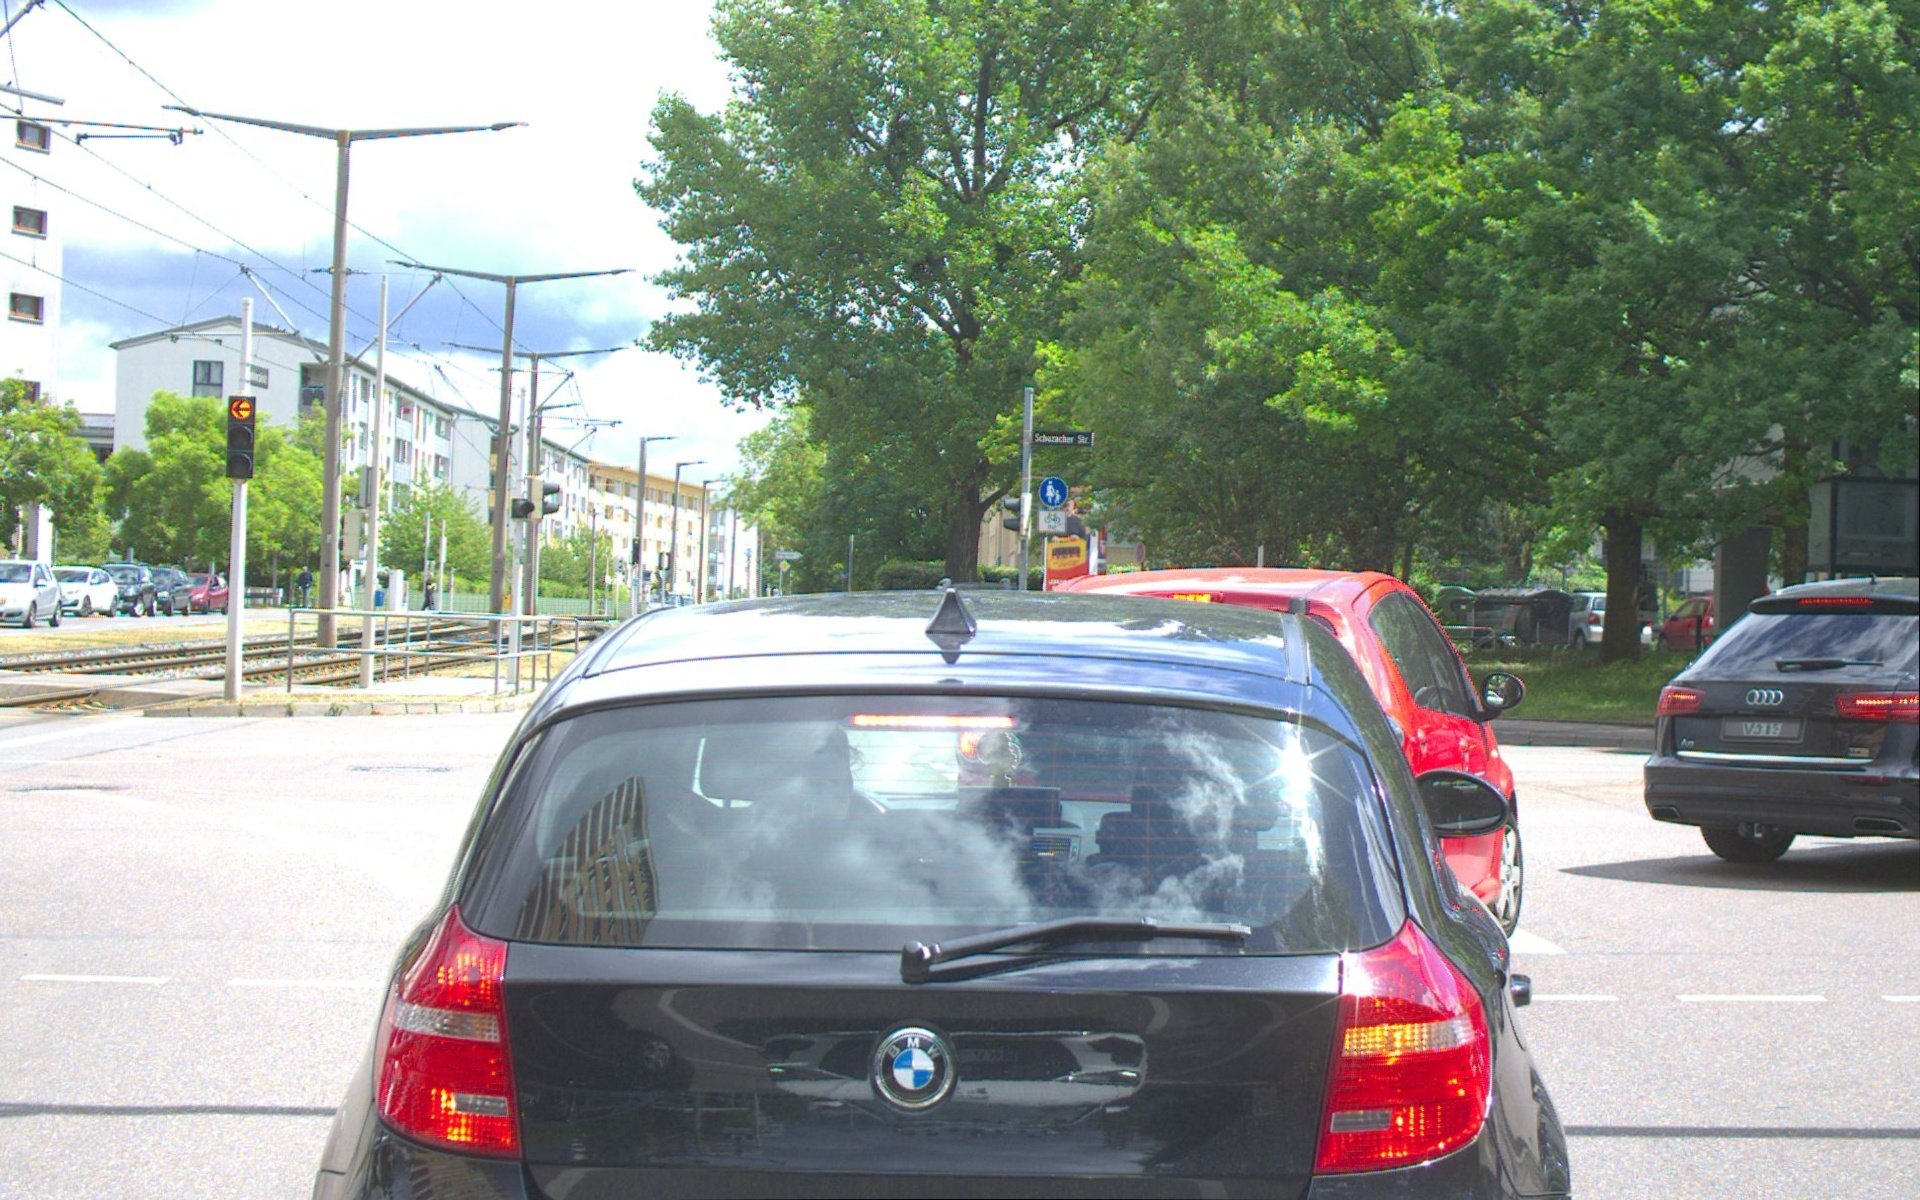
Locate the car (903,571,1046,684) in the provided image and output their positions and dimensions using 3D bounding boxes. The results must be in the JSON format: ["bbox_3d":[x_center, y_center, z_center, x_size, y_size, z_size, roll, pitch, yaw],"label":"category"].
[{"bbox_3d":[0.210,0.422,54.214,2.152,1.678,4.000,1,0,0],"label":"car"}]

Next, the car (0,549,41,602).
[{"bbox_3d":[-26.174,-0.698,93.421,1.761,1.390,4.001,1,1,-7],"label":"car"}]

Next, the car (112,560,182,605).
[{"bbox_3d":[-26.514,-0.574,112.160,1.761,1.390,4.001,1,1,-7],"label":"car"}]

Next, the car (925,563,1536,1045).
[{"bbox_3d":[1.081,0.605,12.248,1.543,1.436,3.193,1,1,16],"label":"car"}]

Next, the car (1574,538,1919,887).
[{"bbox_3d":[5.363,0.495,17.452,4.508,1.548,1.999,0,0,-41],"label":"car"}]

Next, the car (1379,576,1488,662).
[{"bbox_3d":[10.532,0.398,76.675,1.630,1.804,4.033,1,1,-3],"label":"car"}]

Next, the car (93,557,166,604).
[{"bbox_3d":[-25.973,-0.623,107.593,1.761,1.390,4.001,1,1,-7],"label":"car"}]

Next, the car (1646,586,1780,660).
[{"bbox_3d":[17.346,0.503,79.366,1.730,1.589,4.001,1,1,-8],"label":"car"}]

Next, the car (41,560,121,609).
[{"bbox_3d":[-25.795,-0.468,101.017,1.761,1.390,4.001,1,1,-7],"label":"car"}]

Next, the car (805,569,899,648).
[{"bbox_3d":[-2.390,0.170,77.040,1.993,1.678,4.000,1,1,0],"label":"car"}]

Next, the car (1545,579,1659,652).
[{"bbox_3d":[14.714,0.334,78.922,1.630,1.589,4.001,1,1,-3],"label":"car"}]

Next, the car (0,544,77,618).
[{"bbox_3d":[-22.118,-0.466,80.406,1.937,1.687,3.873,1,1,0],"label":"car"}]

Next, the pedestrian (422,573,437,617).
[{"bbox_3d":[-19.888,-0.174,128.853,0.478,1.631,0.454,1,1,-1],"label":"pedestrian"}]

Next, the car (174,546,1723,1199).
[{"bbox_3d":[-0.037,0.669,5.927,1.752,1.482,4.000,1,1,0],"label":"car"}]

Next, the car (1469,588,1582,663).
[{"bbox_3d":[12.747,0.553,77.706,1.630,1.567,4.033,1,1,-3],"label":"car"}]

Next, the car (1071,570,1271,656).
[{"bbox_3d":[4.643,0.285,75.720,3.986,1.817,1.779,1,1,-22],"label":"car"}]

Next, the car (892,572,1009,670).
[{"bbox_3d":[-0.177,0.374,61.663,1.993,1.678,4.000,1,0,0],"label":"car"}]
